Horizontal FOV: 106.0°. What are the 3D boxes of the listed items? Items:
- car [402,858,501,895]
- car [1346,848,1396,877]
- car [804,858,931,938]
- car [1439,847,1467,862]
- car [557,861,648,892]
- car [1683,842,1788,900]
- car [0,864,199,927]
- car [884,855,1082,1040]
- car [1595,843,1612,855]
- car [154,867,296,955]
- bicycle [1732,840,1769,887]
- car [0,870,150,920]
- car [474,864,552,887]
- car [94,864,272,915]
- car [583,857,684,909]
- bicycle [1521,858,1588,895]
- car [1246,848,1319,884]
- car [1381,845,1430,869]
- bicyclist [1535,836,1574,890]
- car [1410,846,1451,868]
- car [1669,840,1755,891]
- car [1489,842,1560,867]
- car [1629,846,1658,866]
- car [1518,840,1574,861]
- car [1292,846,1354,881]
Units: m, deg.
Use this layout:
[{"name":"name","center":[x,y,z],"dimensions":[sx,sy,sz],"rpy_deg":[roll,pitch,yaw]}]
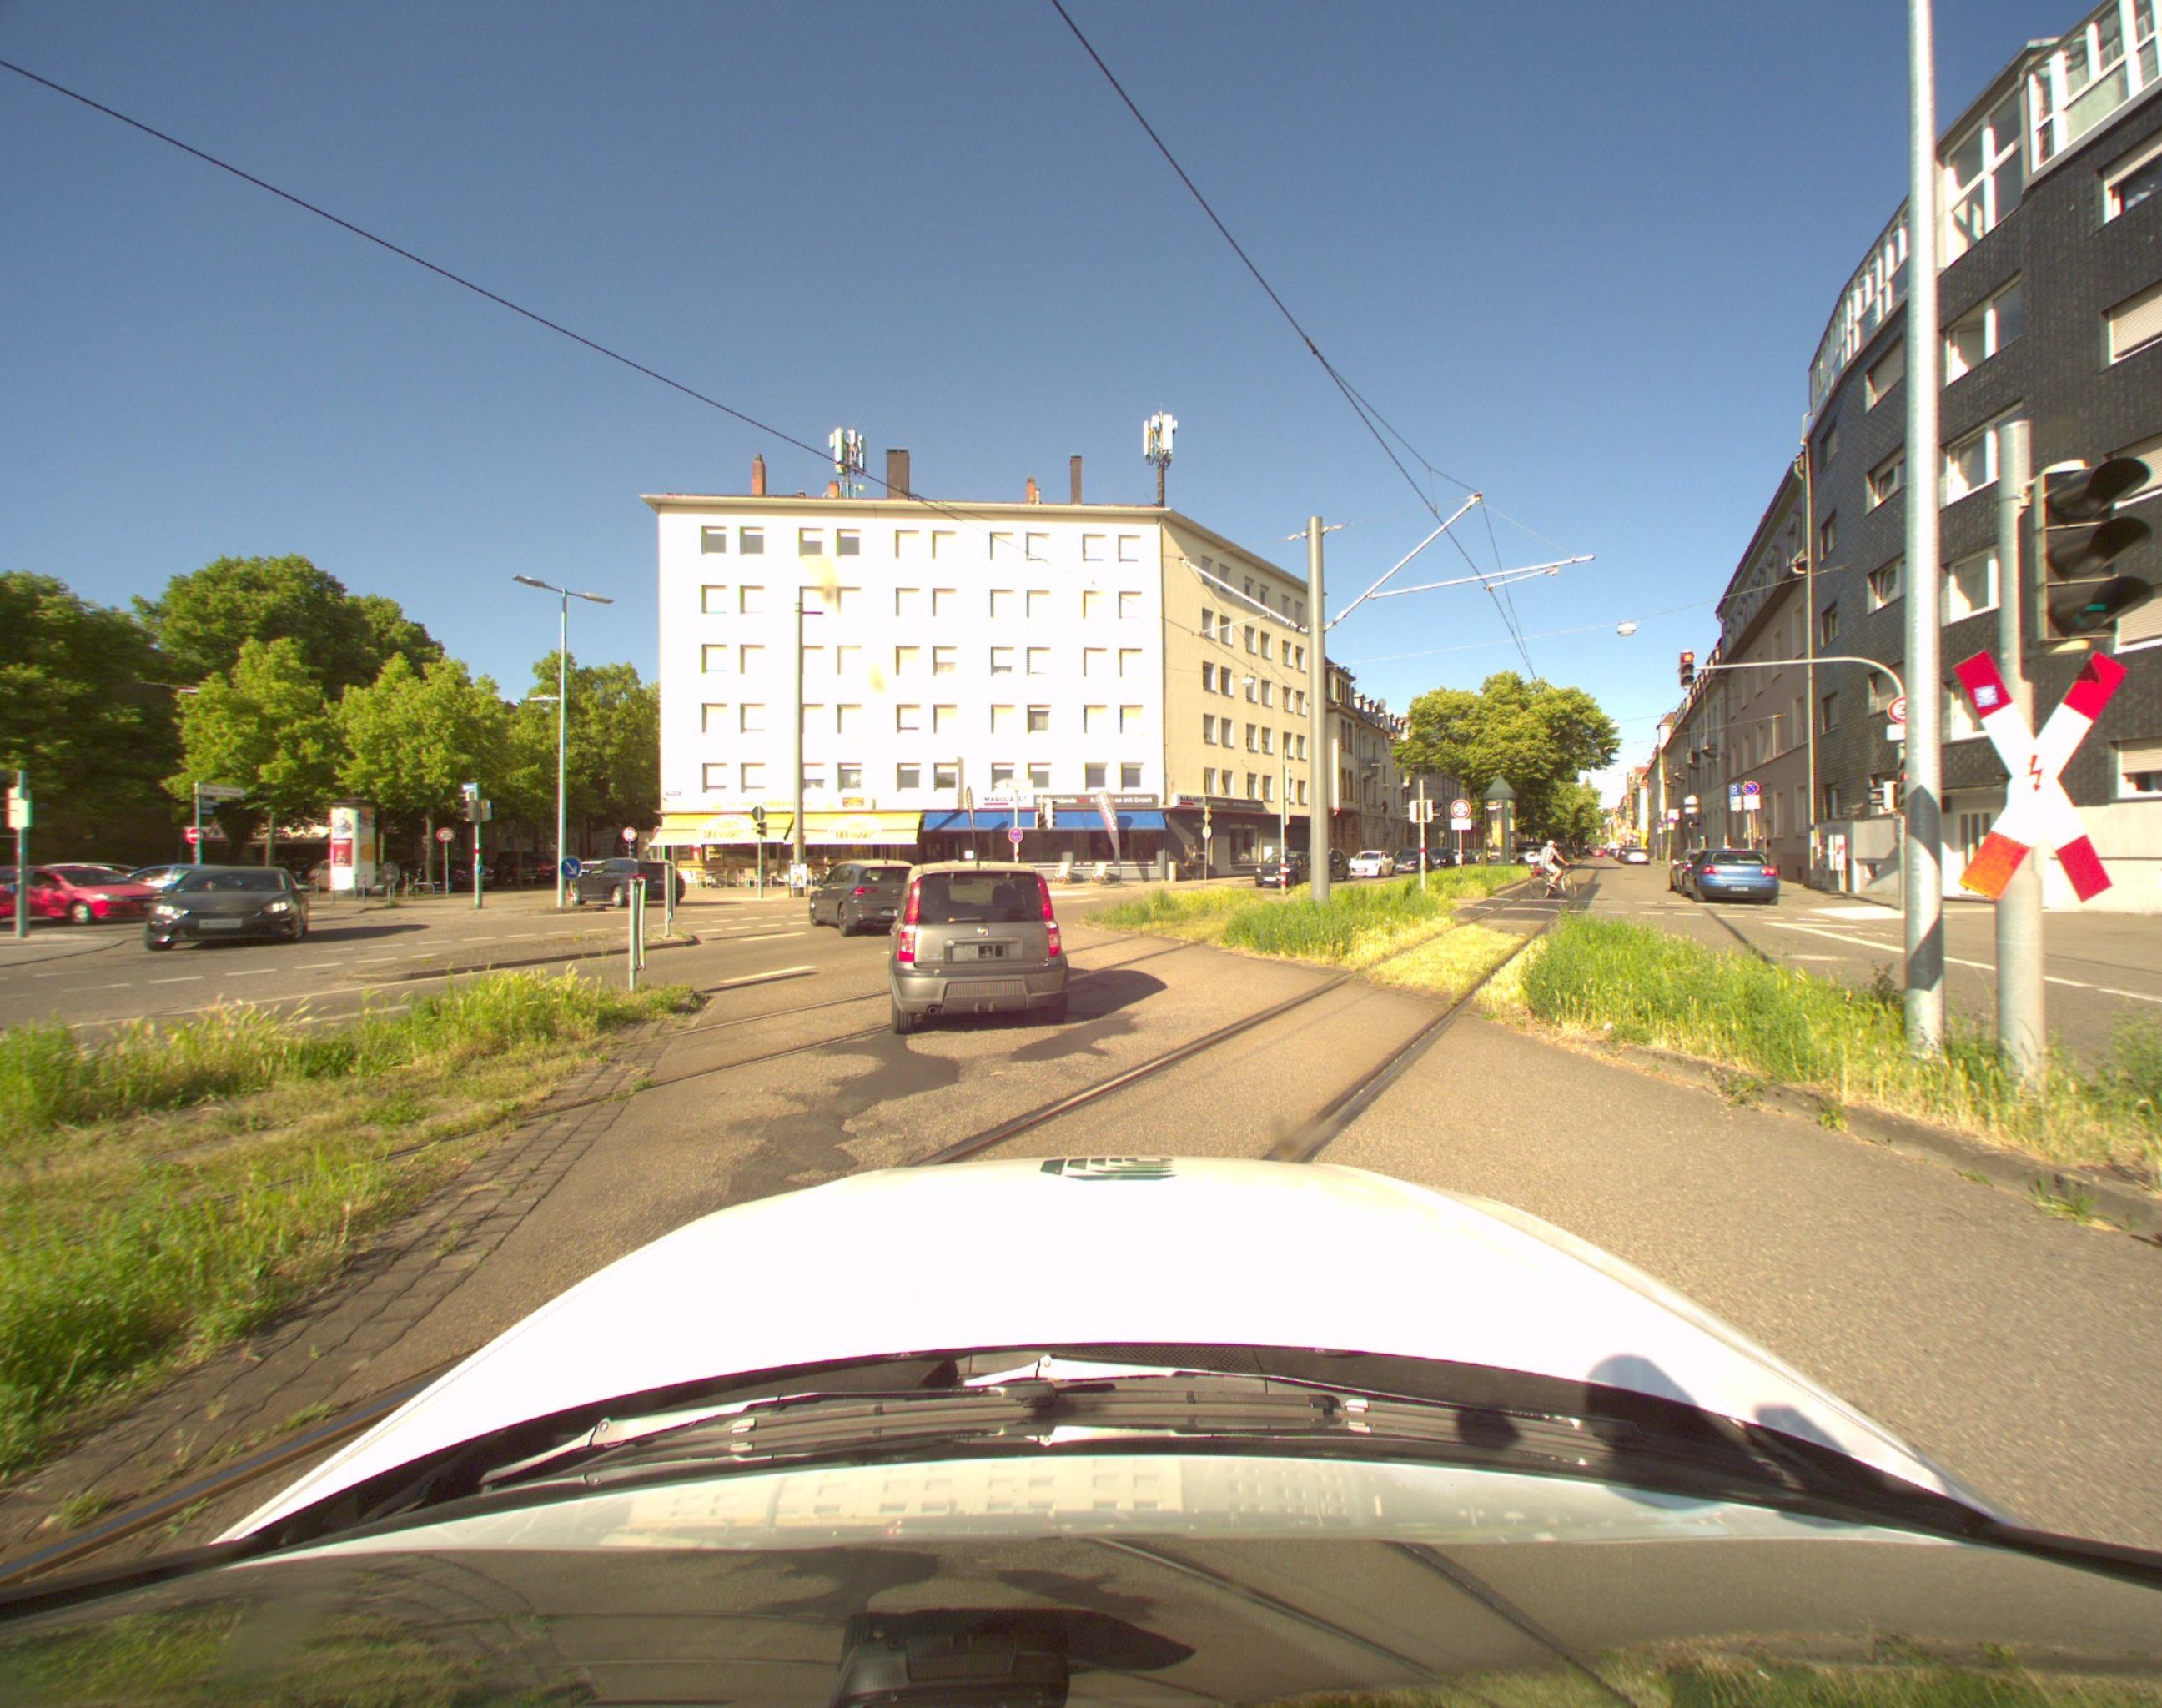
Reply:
[{"name":"car","center":[-30.130,1.061,39.054],"dimensions":[3.294,1.602,1.666],"rpy_deg":[-1,0,-8]},{"name":"car","center":[15.978,0.437,44.753],"dimensions":[1.773,1.483,3.554],"rpy_deg":[-1,0,34]},{"name":"car","center":[-4.507,0.804,16.850],"dimensions":[1.631,1.429,3.653],"rpy_deg":[-1,0,-30]},{"name":"car","center":[36.583,0.066,79.946],"dimensions":[1.974,1.395,4.025],"rpy_deg":[-1,0,32]},{"name":"car","center":[-22.690,1.036,38.799],"dimensions":[1.988,1.310,3.998],"rpy_deg":[-1,0,-2]},{"name":"car","center":[17.857,0.405,22.370],"dimensions":[1.758,1.442,3.641],"rpy_deg":[0,1,31]},{"name":"car","center":[-25.914,1.043,20.986],"dimensions":[4.511,1.489,1.756],"rpy_deg":[-1,0,2]},{"name":"car","center":[-1.139,0.778,8.521],"dimensions":[1.661,1.510,3.238],"rpy_deg":[-1,0,-12]},{"name":"car","center":[82.873,-0.803,129.141],"dimensions":[1.974,1.800,4.026],"rpy_deg":[-1,0,37]},{"name":"car","center":[-16.124,0.976,15.485],"dimensions":[1.675,1.391,4.098],"rpy_deg":[-1,0,-45]},{"name":"bicycle","center":[22.484,0.282,27.392],"dimensions":[0.567,1.511,2.825],"rpy_deg":[-1,0,32]},{"name":"car","center":[-38.414,1.487,30.683],"dimensions":[1.753,1.617,4.228],"rpy_deg":[0,0,1]},{"name":"car","center":[-33.460,1.249,48.058],"dimensions":[1.646,1.190,3.465],"rpy_deg":[-1,0,40]},{"name":"car","center":[-27.781,1.077,25.295],"dimensions":[3.385,1.438,1.646],"rpy_deg":[-1,0,-10]},{"name":"car","center":[-14.179,0.858,25.715],"dimensions":[1.776,1.486,4.241],"rpy_deg":[-1,0,-43]},{"name":"bicycle","center":[14.035,0.666,24.132],"dimensions":[1.854,1.032,0.586],"rpy_deg":[-1,0,-15]},{"name":"car","center":[8.421,0.461,33.882],"dimensions":[1.773,1.396,3.749],"rpy_deg":[-1,0,34]},{"name":"car","center":[20.431,0.156,51.252],"dimensions":[1.974,1.473,4.026],"rpy_deg":[-1,0,35]},{"name":"bicyclist","center":[14.015,0.265,24.123],"dimensions":[0.822,1.559,0.559],"rpy_deg":[-1,0,-15]},{"name":"car","center":[25.494,0.201,59.304],"dimensions":[1.974,1.487,4.026],"rpy_deg":[-1,0,35]},{"name":"car","center":[20.494,0.339,26.587],"dimensions":[1.802,1.508,4.026],"rpy_deg":[-1,0,32]},{"name":"car","center":[28.972,0.026,53.377],"dimensions":[1.907,1.594,3.981],"rpy_deg":[-1,0,-14]},{"name":"car","center":[48.582,0.171,70.380],"dimensions":[1.974,1.618,4.025],"rpy_deg":[0,-1,34]},{"name":"car","center":[39.872,-0.295,69.908],"dimensions":[1.852,1.785,3.772],"rpy_deg":[-1,0,-45]},{"name":"car","center":[11.596,0.415,38.857],"dimensions":[1.773,1.565,3.790],"rpy_deg":[-1,0,34]}]
